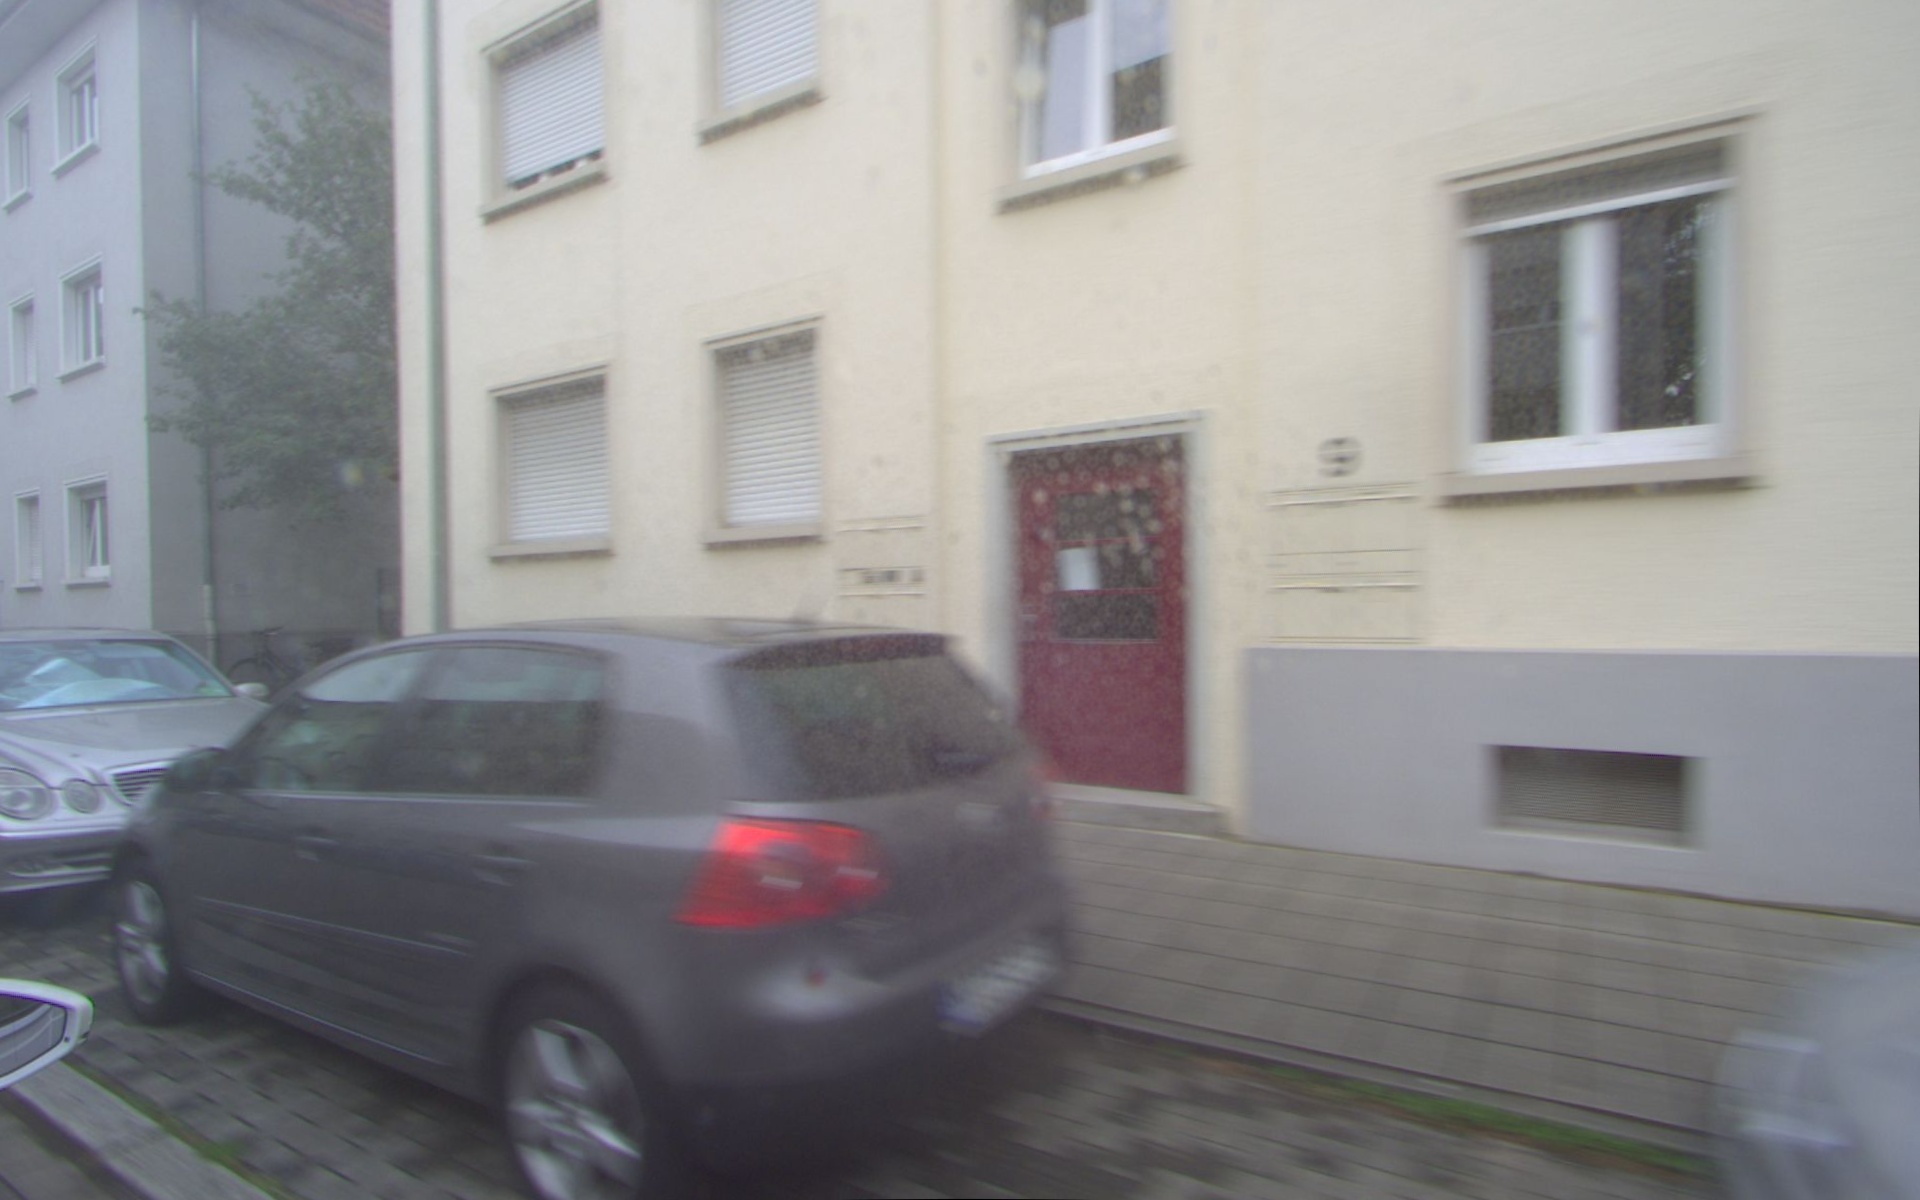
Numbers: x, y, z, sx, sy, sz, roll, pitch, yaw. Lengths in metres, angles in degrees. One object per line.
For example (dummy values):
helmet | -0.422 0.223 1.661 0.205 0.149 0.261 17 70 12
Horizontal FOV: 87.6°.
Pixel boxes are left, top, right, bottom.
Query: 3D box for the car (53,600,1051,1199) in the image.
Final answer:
car | -1.714 0.781 3.753 3.815 1.496 1.599 -1 -1 33

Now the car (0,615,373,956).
car | -5.671 0.848 6.227 4.441 1.495 1.721 -1 -1 33

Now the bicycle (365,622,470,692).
bicycle | -8.870 0.906 16.425 0.491 1.076 1.444 0 0 35

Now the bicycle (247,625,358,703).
bicycle | -9.766 0.930 14.908 0.491 1.076 1.289 0 0 35
